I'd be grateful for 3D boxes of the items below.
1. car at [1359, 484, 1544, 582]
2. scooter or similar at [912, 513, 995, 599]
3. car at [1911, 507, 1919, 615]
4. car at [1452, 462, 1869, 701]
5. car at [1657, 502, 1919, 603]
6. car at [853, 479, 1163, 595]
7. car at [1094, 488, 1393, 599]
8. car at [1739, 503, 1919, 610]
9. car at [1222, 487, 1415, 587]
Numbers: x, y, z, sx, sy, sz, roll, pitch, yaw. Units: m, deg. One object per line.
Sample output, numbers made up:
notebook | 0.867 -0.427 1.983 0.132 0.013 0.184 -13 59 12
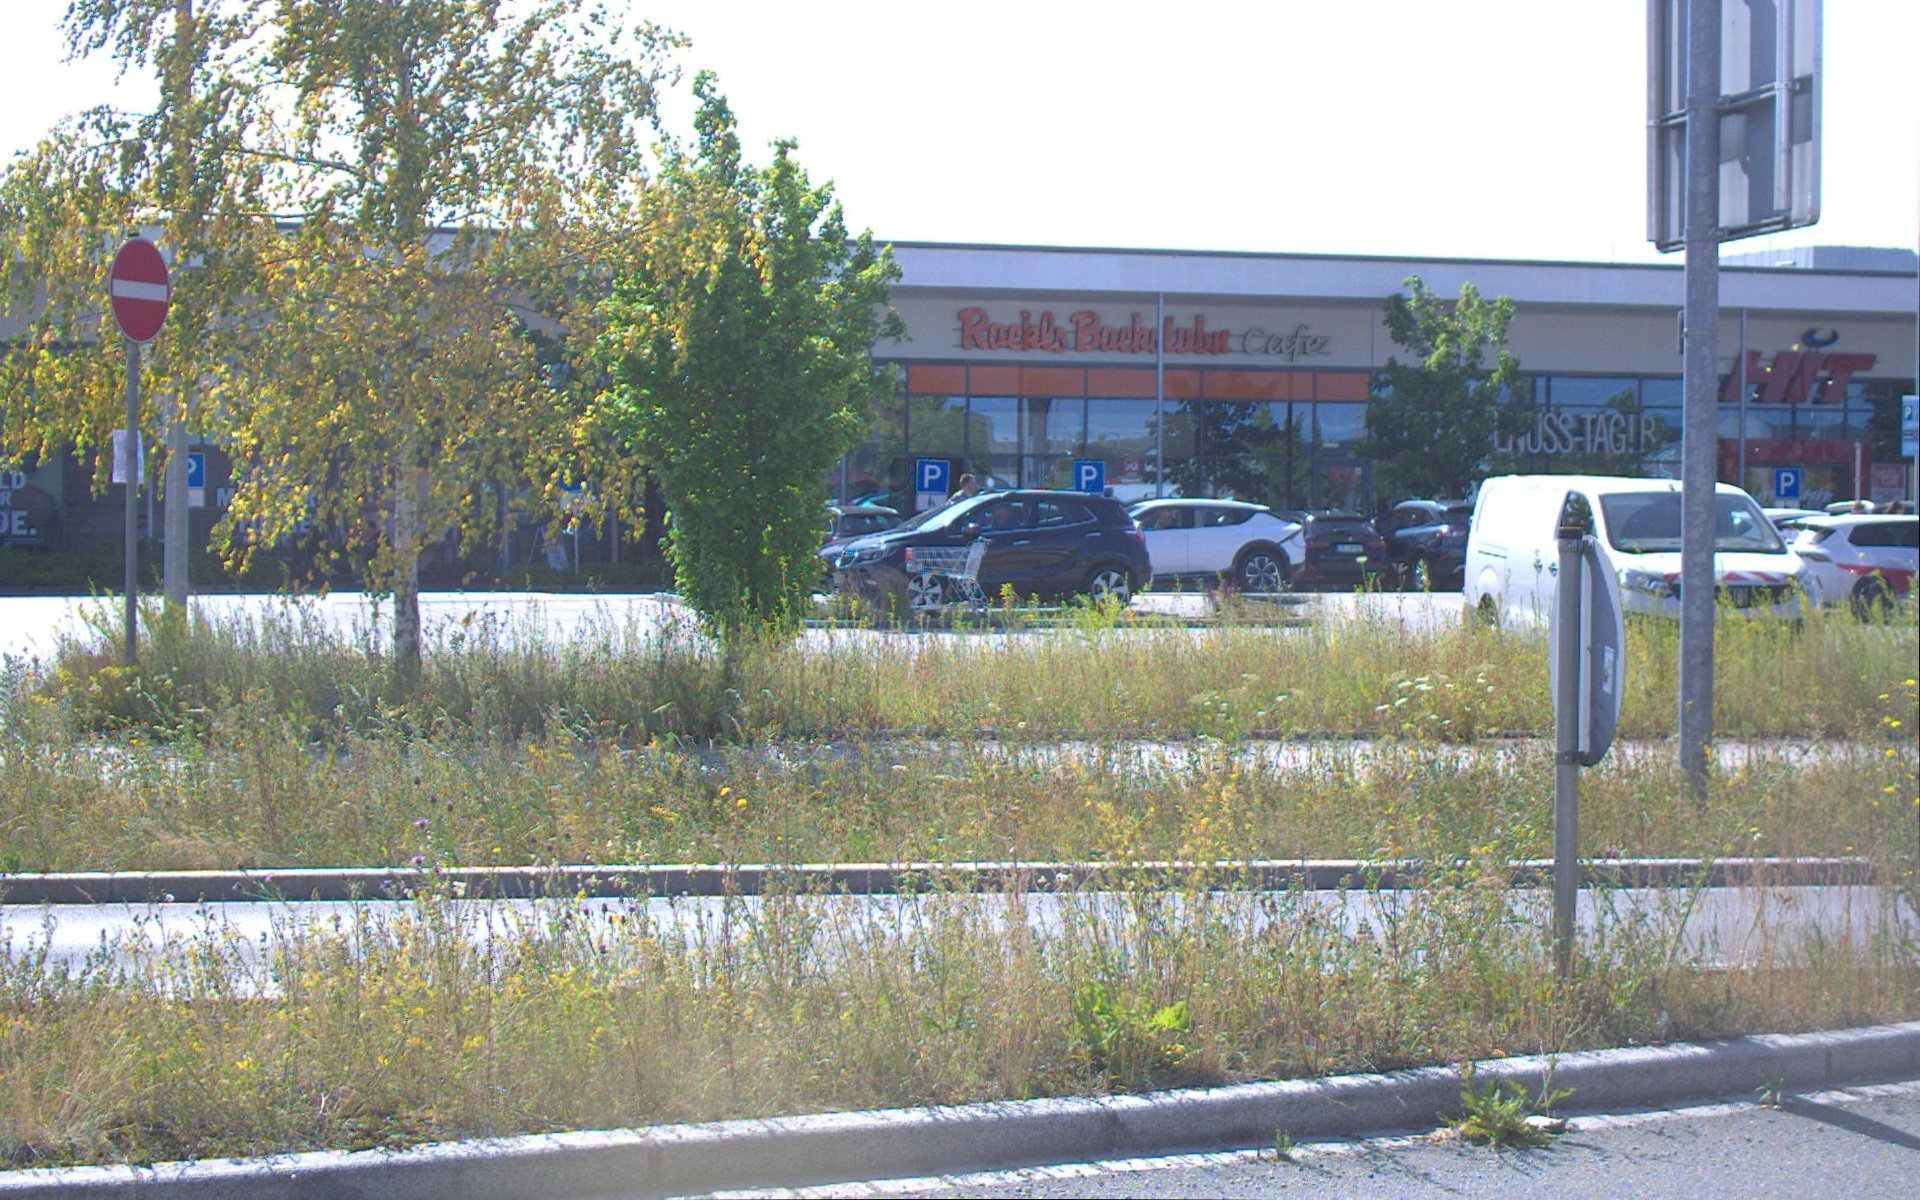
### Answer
car | 8.868 -1.239 62.354 1.993 1.701 4.002 0 2 -13
scooter or similar | -0.084 -0.560 43.876 0.943 1.075 0.652 0 2 -12
car | 14.260 -0.482 43.935 3.718 1.386 1.732 0 2 -19
car | 6.324 -0.240 31.773 2.080 2.006 5.230 1 2 -8
car | 12.072 -0.689 49.204 3.718 1.386 1.732 0 2 -19
car | 0.625 -0.846 45.795 3.792 1.503 1.732 0 2 -16
car | 4.597 -0.917 55.929 4.470 1.700 1.875 1 1 -13
car | 12.563 -0.598 46.197 3.718 1.386 1.732 0 2 -19
car | 6.353 -1.151 61.382 1.993 1.701 4.002 0 2 -17
